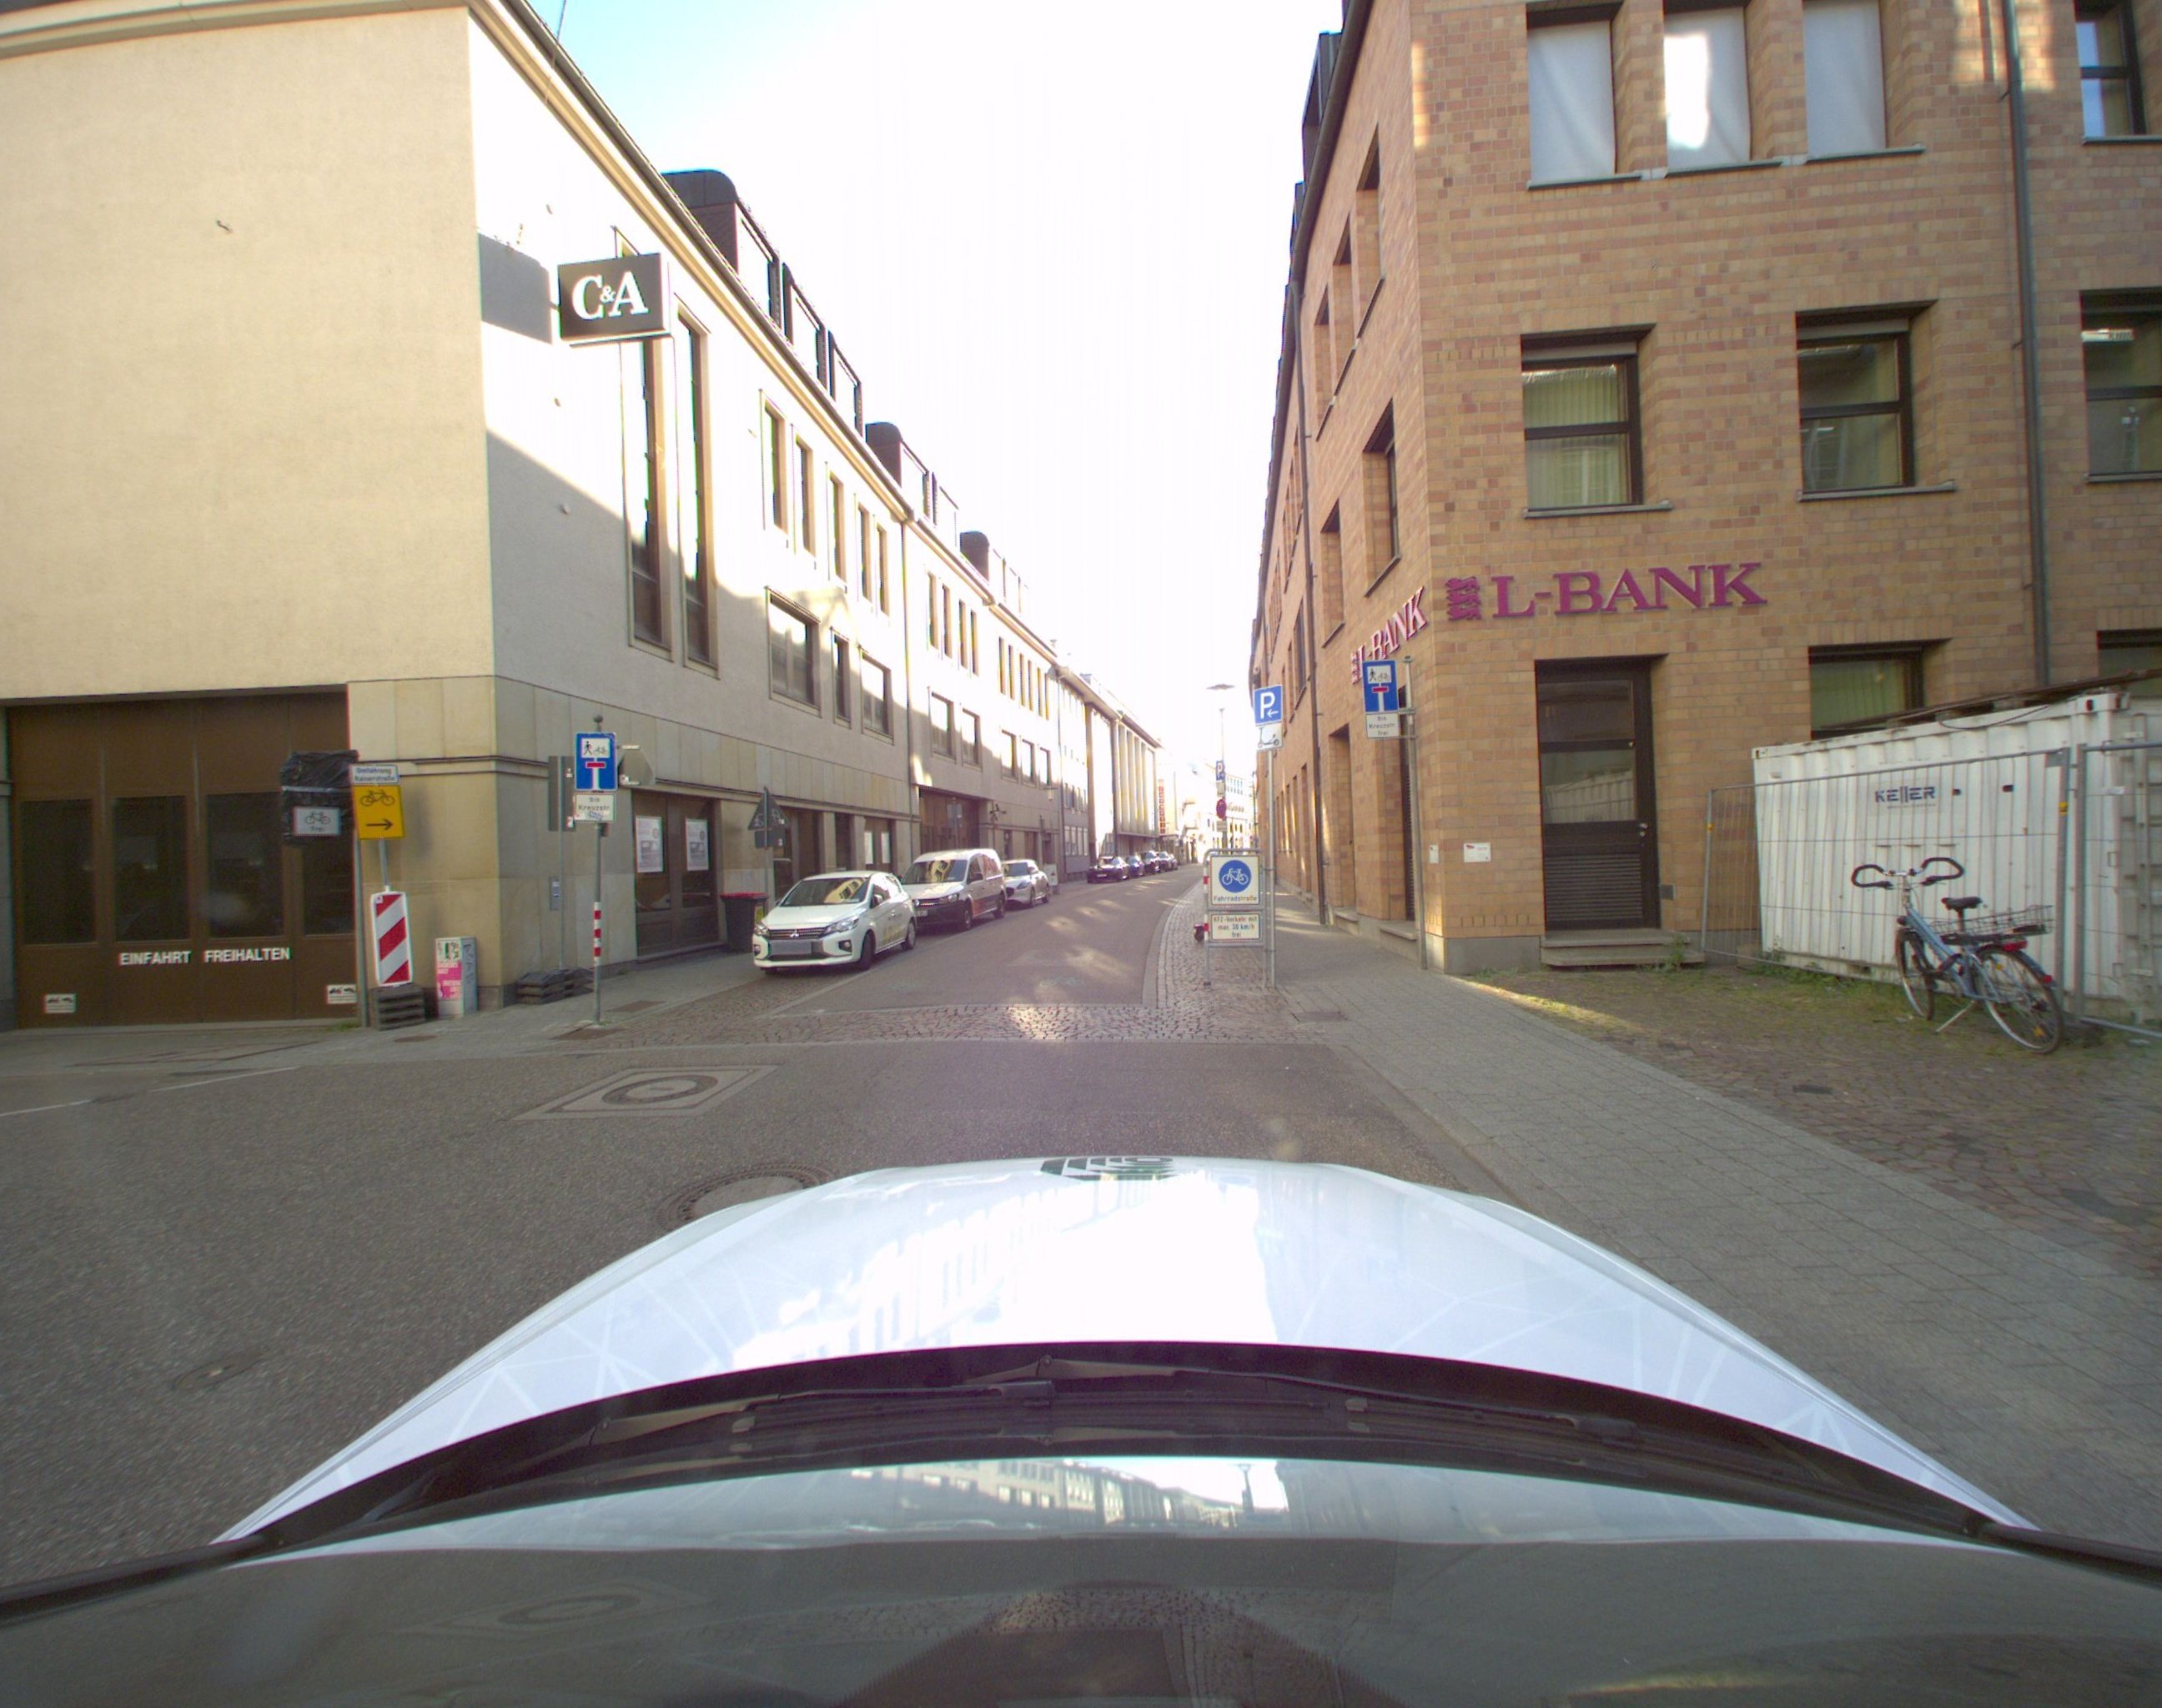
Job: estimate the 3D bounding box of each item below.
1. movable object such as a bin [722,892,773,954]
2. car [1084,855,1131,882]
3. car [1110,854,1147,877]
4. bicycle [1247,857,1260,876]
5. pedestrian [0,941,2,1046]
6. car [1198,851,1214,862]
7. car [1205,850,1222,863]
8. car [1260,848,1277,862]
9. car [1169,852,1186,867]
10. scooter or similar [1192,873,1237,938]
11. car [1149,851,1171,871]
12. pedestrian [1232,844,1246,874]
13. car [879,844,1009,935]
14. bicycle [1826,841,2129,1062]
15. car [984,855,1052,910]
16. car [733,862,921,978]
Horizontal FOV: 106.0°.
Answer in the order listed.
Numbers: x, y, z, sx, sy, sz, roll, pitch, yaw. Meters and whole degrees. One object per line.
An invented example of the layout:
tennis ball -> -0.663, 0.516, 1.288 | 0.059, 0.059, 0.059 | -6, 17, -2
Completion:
movable object such as a bin -> -5.957, 1.220, 14.589 | 0.607, 1.060, 0.713 | 0, -1, -1
car -> 1.526, 0.801, 45.743 | 1.869, 1.332, 4.114 | -2, 0, 12
car -> 3.086, 0.714, 52.206 | 1.713, 1.340, 4.013 | -3, 0, 12
bicycle -> 9.842, 0.685, 46.438 | 0.508, 0.994, 2.654 | -2, 0, 8
pedestrian -> -12.395, 1.316, 8.755 | 0.693, 1.702, 0.660 | -1, 0, -23
car -> 16.519, 0.327, 107.375 | 1.677, 1.370, 3.632 | -3, 0, 14
car -> 15.447, 0.245, 94.754 | 1.677, 1.370, 3.632 | -3, 0, 14
car -> 20.157, 0.080, 87.449 | 1.677, 1.370, 3.632 | -3, 0, 14
car -> 9.838, 0.549, 82.629 | 1.330, 1.494, 3.358 | -2, 0, 12
scooter or similar -> 2.372, 0.913, 14.504 | 0.767, 1.136, 0.269 | 0, -1, 4
car -> 6.350, 0.509, 65.285 | 1.330, 1.494, 3.522 | -2, 0, 12
pedestrian -> 9.312, 0.293, 47.998 | 0.662, 1.730, 0.840 | 0, -1, 1
car -> -3.064, 0.732, 19.236 | 1.661, 1.818, 4.562 | -4, 0, 8
bicycle -> 6.134, 0.584, 5.718 | 0.546, 1.317, 1.653 | -3, 0, 13
car -> -1.903, 0.840, 25.399 | 1.264, 1.507, 3.410 | -4, 0, 9
car -> -3.959, 0.948, 13.388 | 1.664, 1.507, 3.796 | -3, 0, 3
